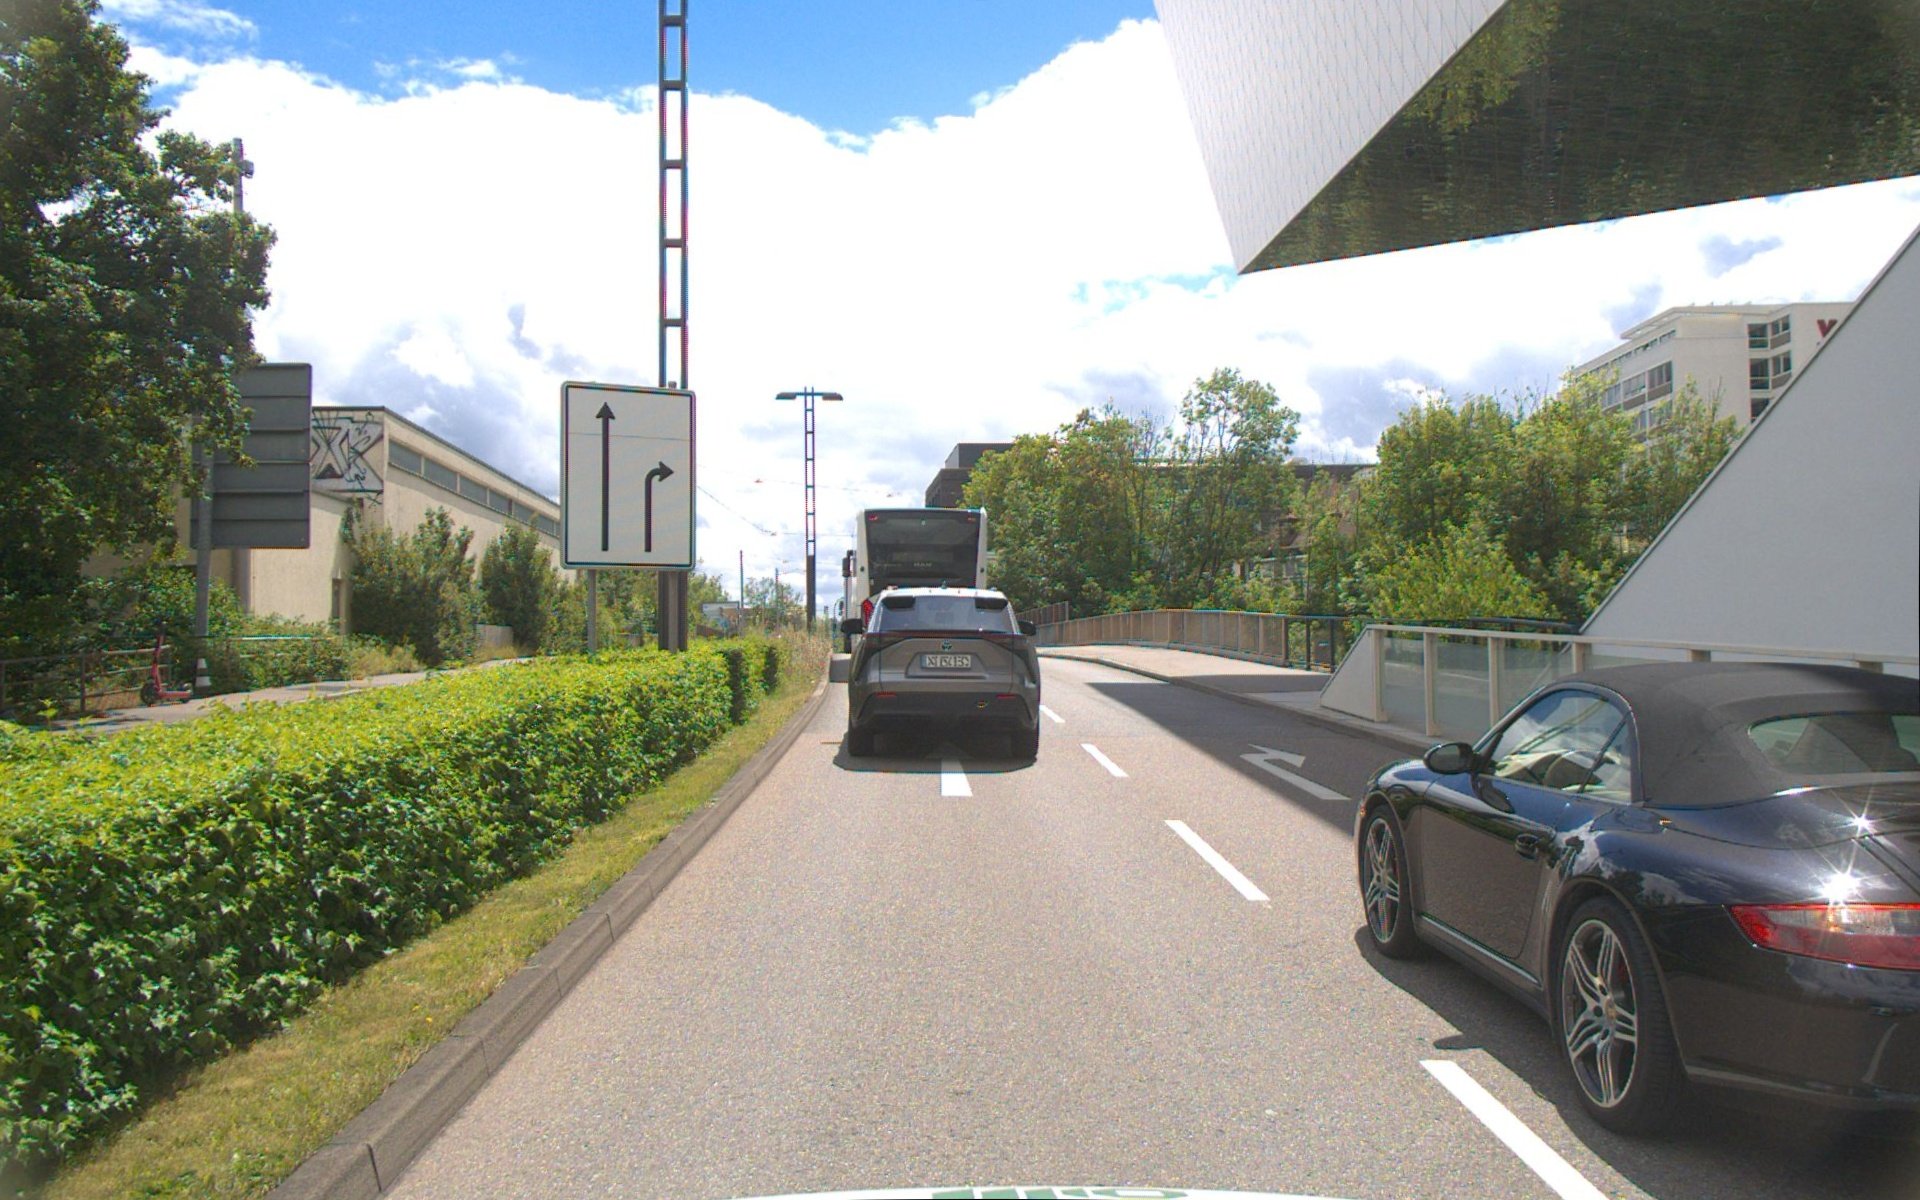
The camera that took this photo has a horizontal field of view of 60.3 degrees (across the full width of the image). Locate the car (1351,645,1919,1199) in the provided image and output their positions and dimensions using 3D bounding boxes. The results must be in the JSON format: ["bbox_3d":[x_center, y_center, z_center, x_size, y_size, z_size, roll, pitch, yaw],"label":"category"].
[{"bbox_3d":[2.703,0.851,5.730,1.685,1.297,4.087,0,0,-1],"label":"car"}]

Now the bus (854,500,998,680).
[{"bbox_3d":[-0.758,-0.261,36.797,2.634,3.312,12.055,1,1,-1],"label":"bus"}]

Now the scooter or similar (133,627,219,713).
[{"bbox_3d":[-11.987,1.050,25.337,0.481,1.237,1.643,-1,0,1],"label":"scooter or similar"}]

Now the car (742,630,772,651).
[{"bbox_3d":[-13.904,2.788,113.464,1.720,1.298,3.996,-3,-1,-4],"label":"car"}]

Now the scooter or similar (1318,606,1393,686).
[{"bbox_3d":[6.425,0.727,26.955,0.640,1.235,1.856,-2,0,-4],"label":"scooter or similar"}]

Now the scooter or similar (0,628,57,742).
[{"bbox_3d":[-11.640,1.017,20.022,0.481,1.327,1.643,1,0,1],"label":"scooter or similar"}]

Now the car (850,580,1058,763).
[{"bbox_3d":[-0.120,0.661,16.937,1.842,1.622,4.227,1,0,-2],"label":"car"}]
